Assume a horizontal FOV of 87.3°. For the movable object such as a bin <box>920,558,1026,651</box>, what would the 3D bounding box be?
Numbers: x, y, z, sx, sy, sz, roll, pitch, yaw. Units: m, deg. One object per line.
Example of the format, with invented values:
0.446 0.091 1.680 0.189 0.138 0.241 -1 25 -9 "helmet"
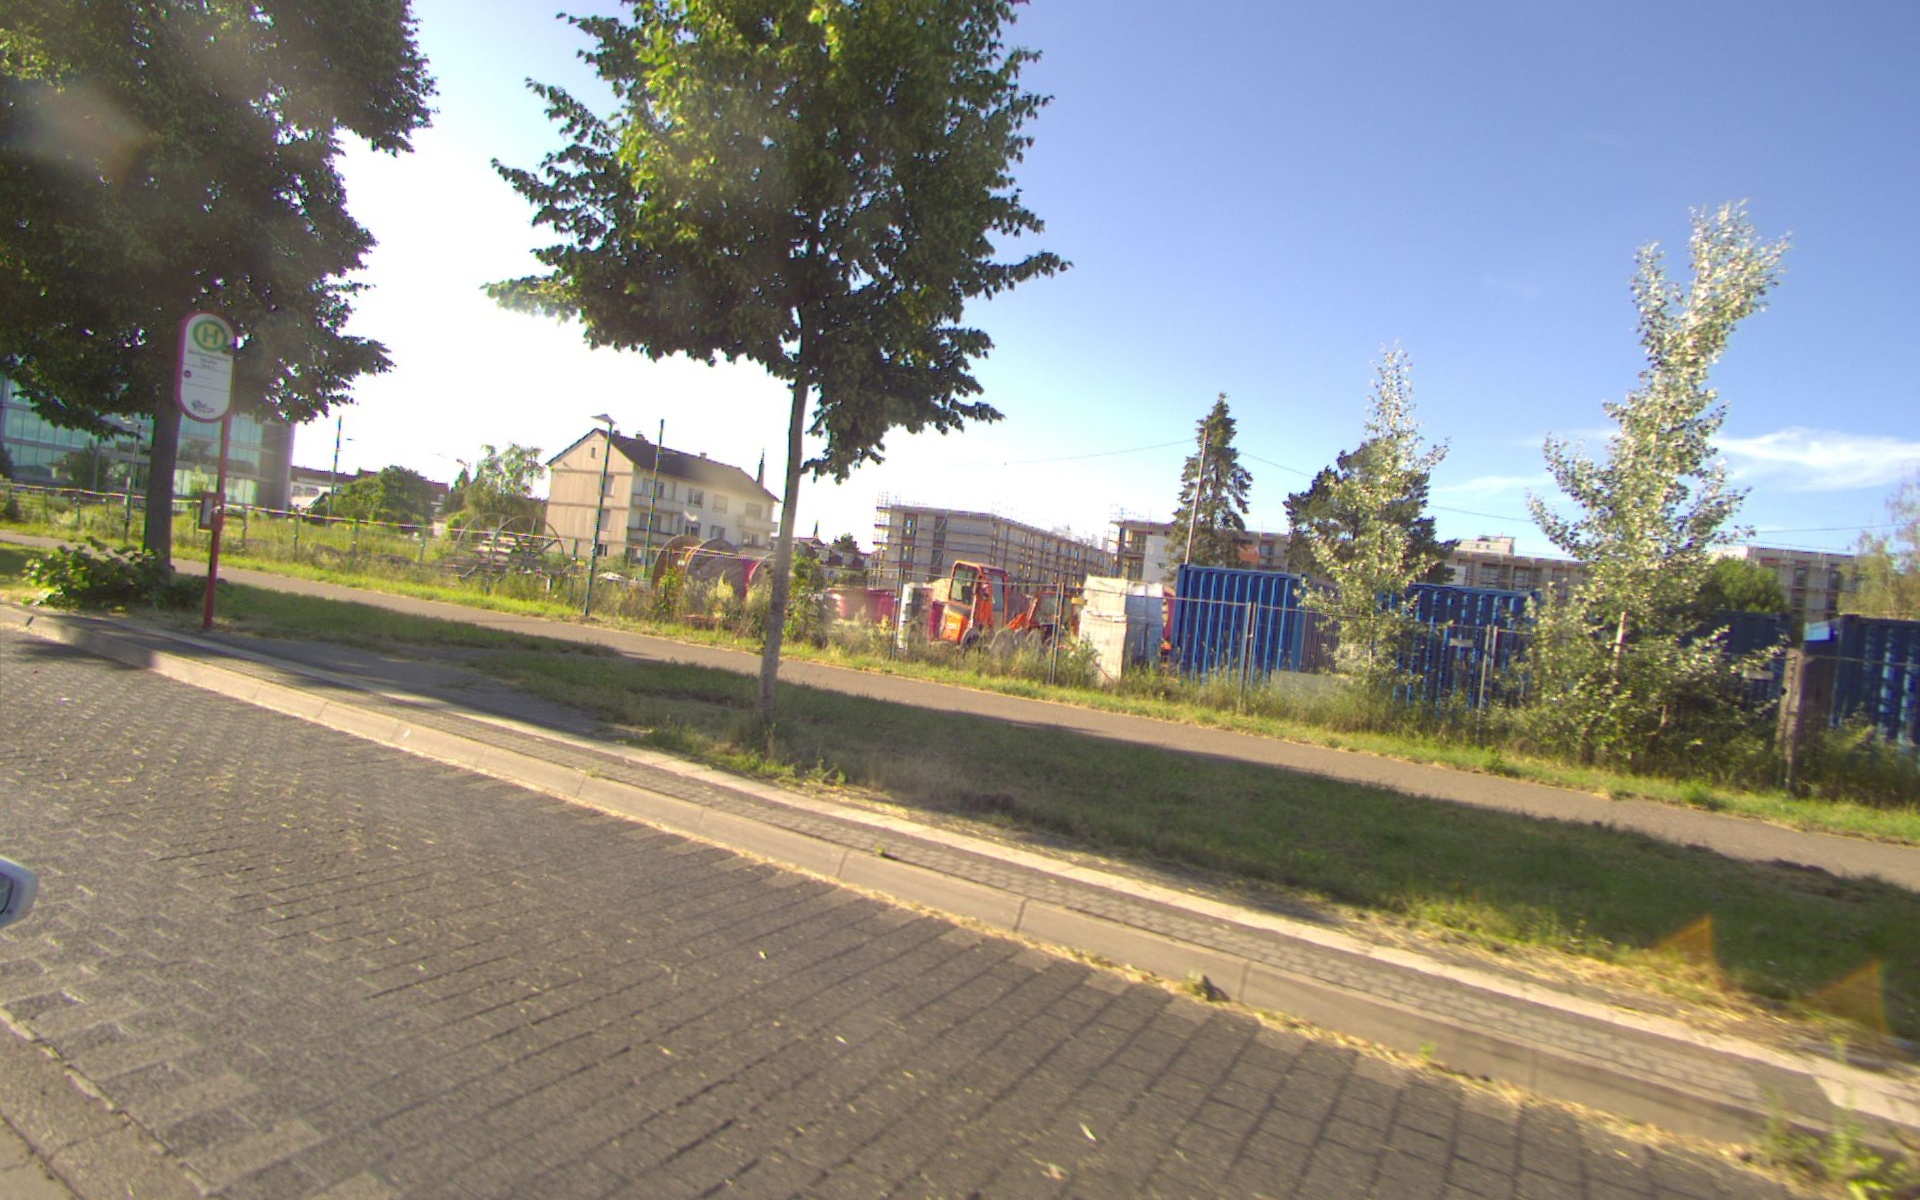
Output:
0.333 0.118 24.580 1.760 2.038 1.797 4 -1 32 "movable object such as a bin"
